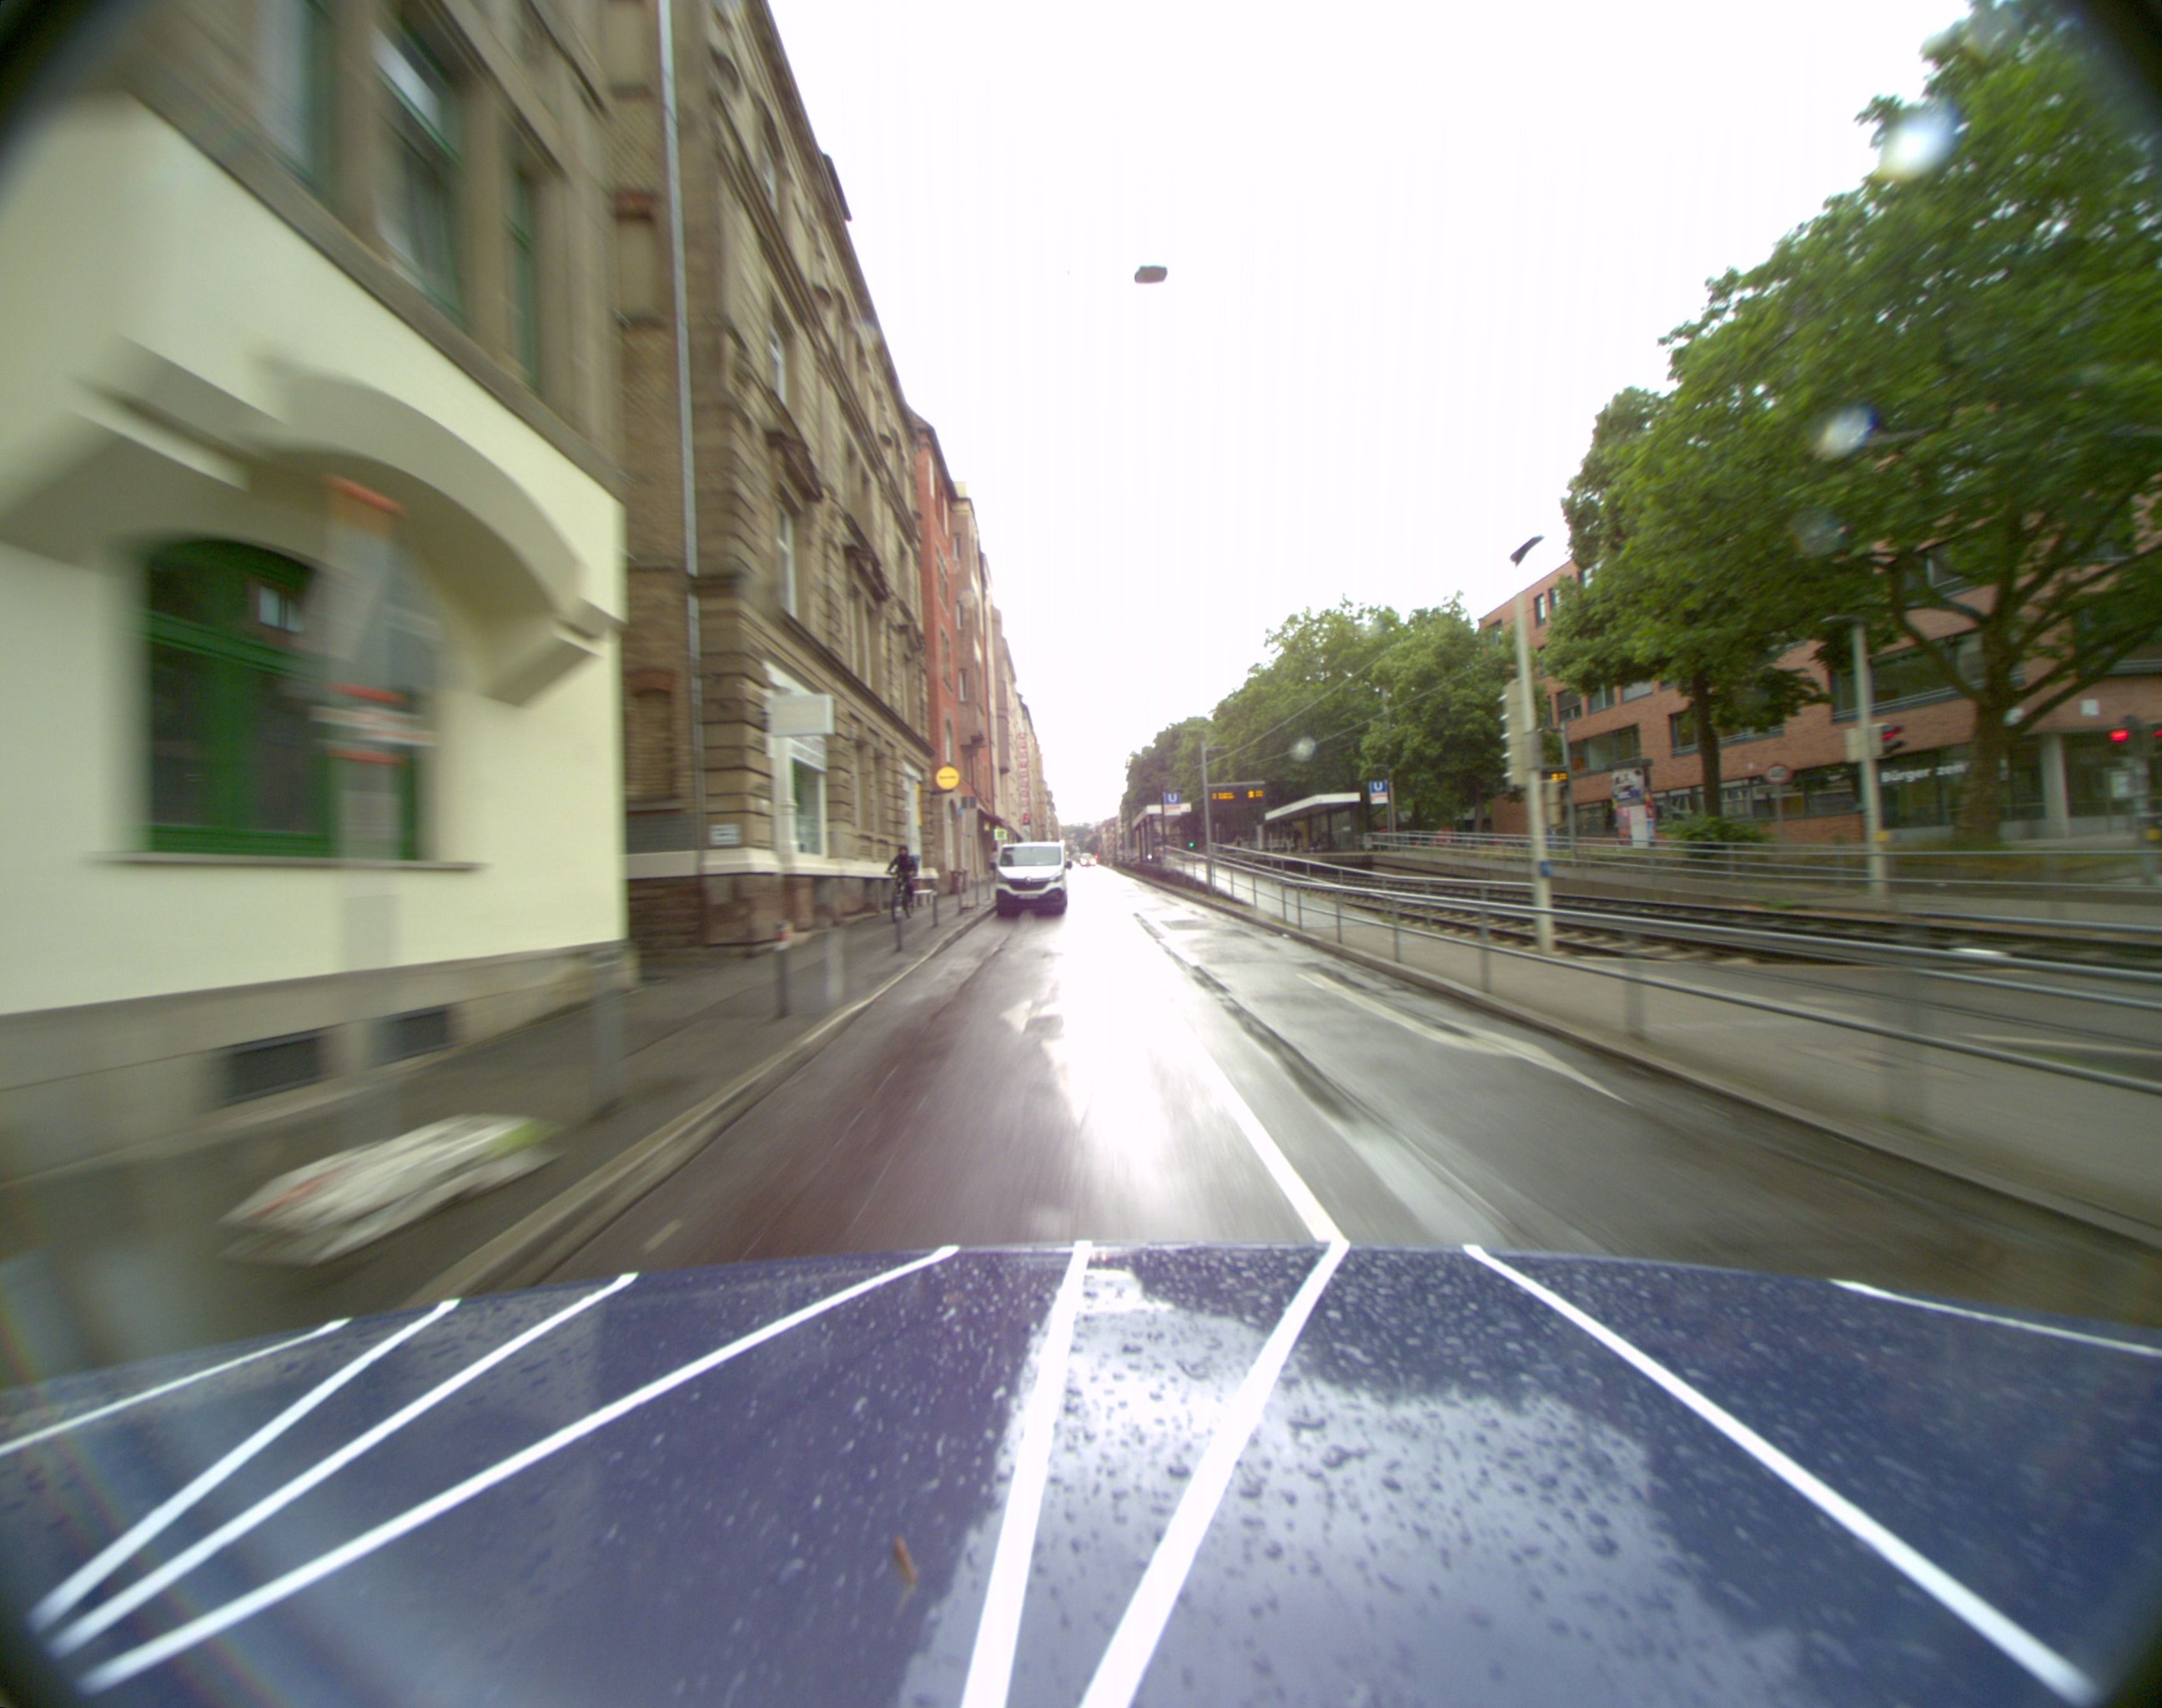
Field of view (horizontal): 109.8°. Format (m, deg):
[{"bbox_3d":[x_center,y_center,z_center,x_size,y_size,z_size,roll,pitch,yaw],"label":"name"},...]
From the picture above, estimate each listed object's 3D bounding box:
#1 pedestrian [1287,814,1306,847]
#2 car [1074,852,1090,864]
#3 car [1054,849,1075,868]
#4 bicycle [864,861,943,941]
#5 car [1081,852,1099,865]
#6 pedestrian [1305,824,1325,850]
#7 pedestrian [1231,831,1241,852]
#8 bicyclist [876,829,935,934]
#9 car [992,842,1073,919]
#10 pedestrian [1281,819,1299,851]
[{"bbox_3d":[13.663,-1.483,48.101,0.837,2.050,0.884,-2,1,-5],"label":"pedestrian"},{"bbox_3d":[0.114,0.497,103.504,1.884,1.439,3.999,-3,1,-1],"label":"car"},{"bbox_3d":[-1.715,0.456,79.194,1.884,1.838,3.998,-3,1,-4],"label":"car"},{"bbox_3d":[-3.899,0.973,17.063,0.936,1.545,3.135,-2,0,1],"label":"bicycle"},{"bbox_3d":[1.033,0.494,88.800,1.884,1.439,3.999,-3,1,-1],"label":"car"},{"bbox_3d":[13.708,-1.008,44.513,0.781,1.474,0.884,-2,1,-5],"label":"pedestrian"},{"bbox_3d":[13.354,-1.097,65.460,0.677,1.780,0.703,-1,1,0],"label":"pedestrian"},{"bbox_3d":[-3.921,0.598,17.113,0.921,2.250,1.287,-2,1,1],"label":"bicyclist"},{"bbox_3d":[-1.269,0.656,22.552,1.825,1.893,5.990,-3,1,1],"label":"car"},{"bbox_3d":[13.580,-1.217,49.389,0.837,2.050,0.884,-2,1,-5],"label":"pedestrian"}]
